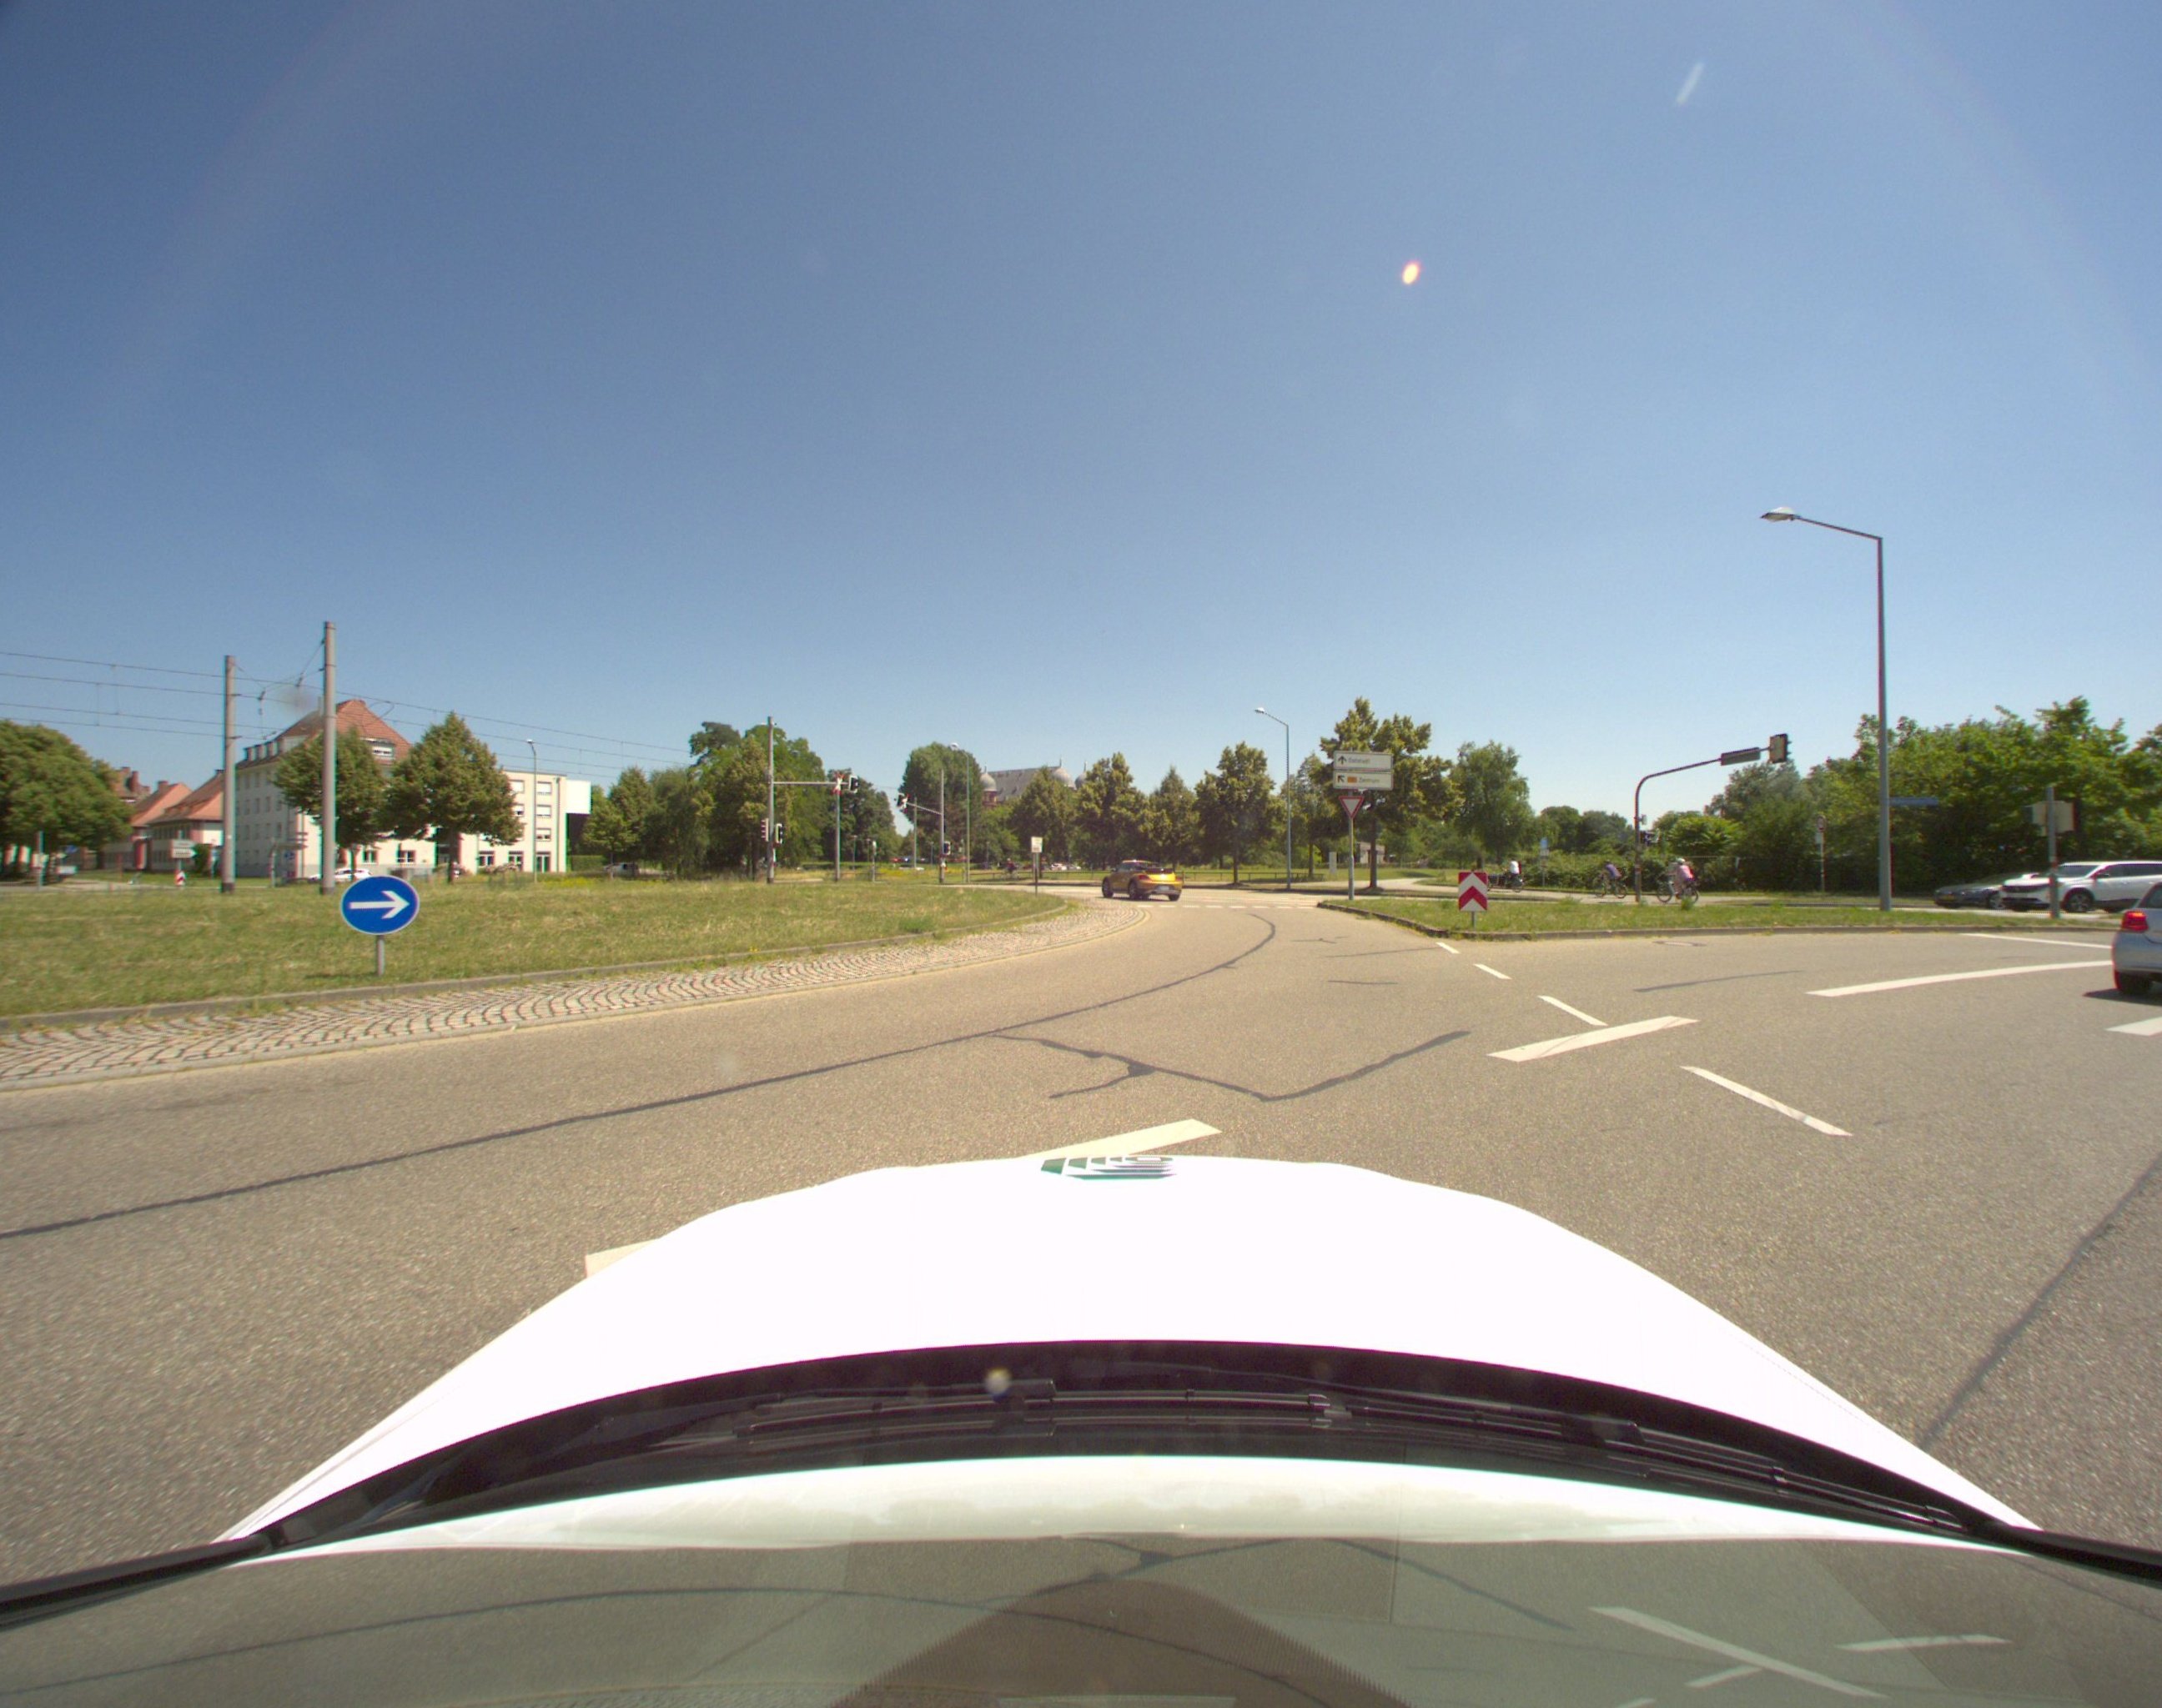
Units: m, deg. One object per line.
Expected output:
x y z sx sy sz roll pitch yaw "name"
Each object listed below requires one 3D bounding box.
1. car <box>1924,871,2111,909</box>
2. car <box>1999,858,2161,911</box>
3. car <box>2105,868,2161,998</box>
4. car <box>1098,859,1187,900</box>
33.455 1.263 29.210 4.373 1.270 1.867 0 -1 4 "car"
32.212 0.929 25.623 4.373 1.618 1.867 0 -1 4 "car"
14.064 0.886 9.494 4.006 1.422 1.767 0 -1 -25 "car"
2.216 0.917 30.170 1.833 1.403 3.634 1 -1 -23 "car"
